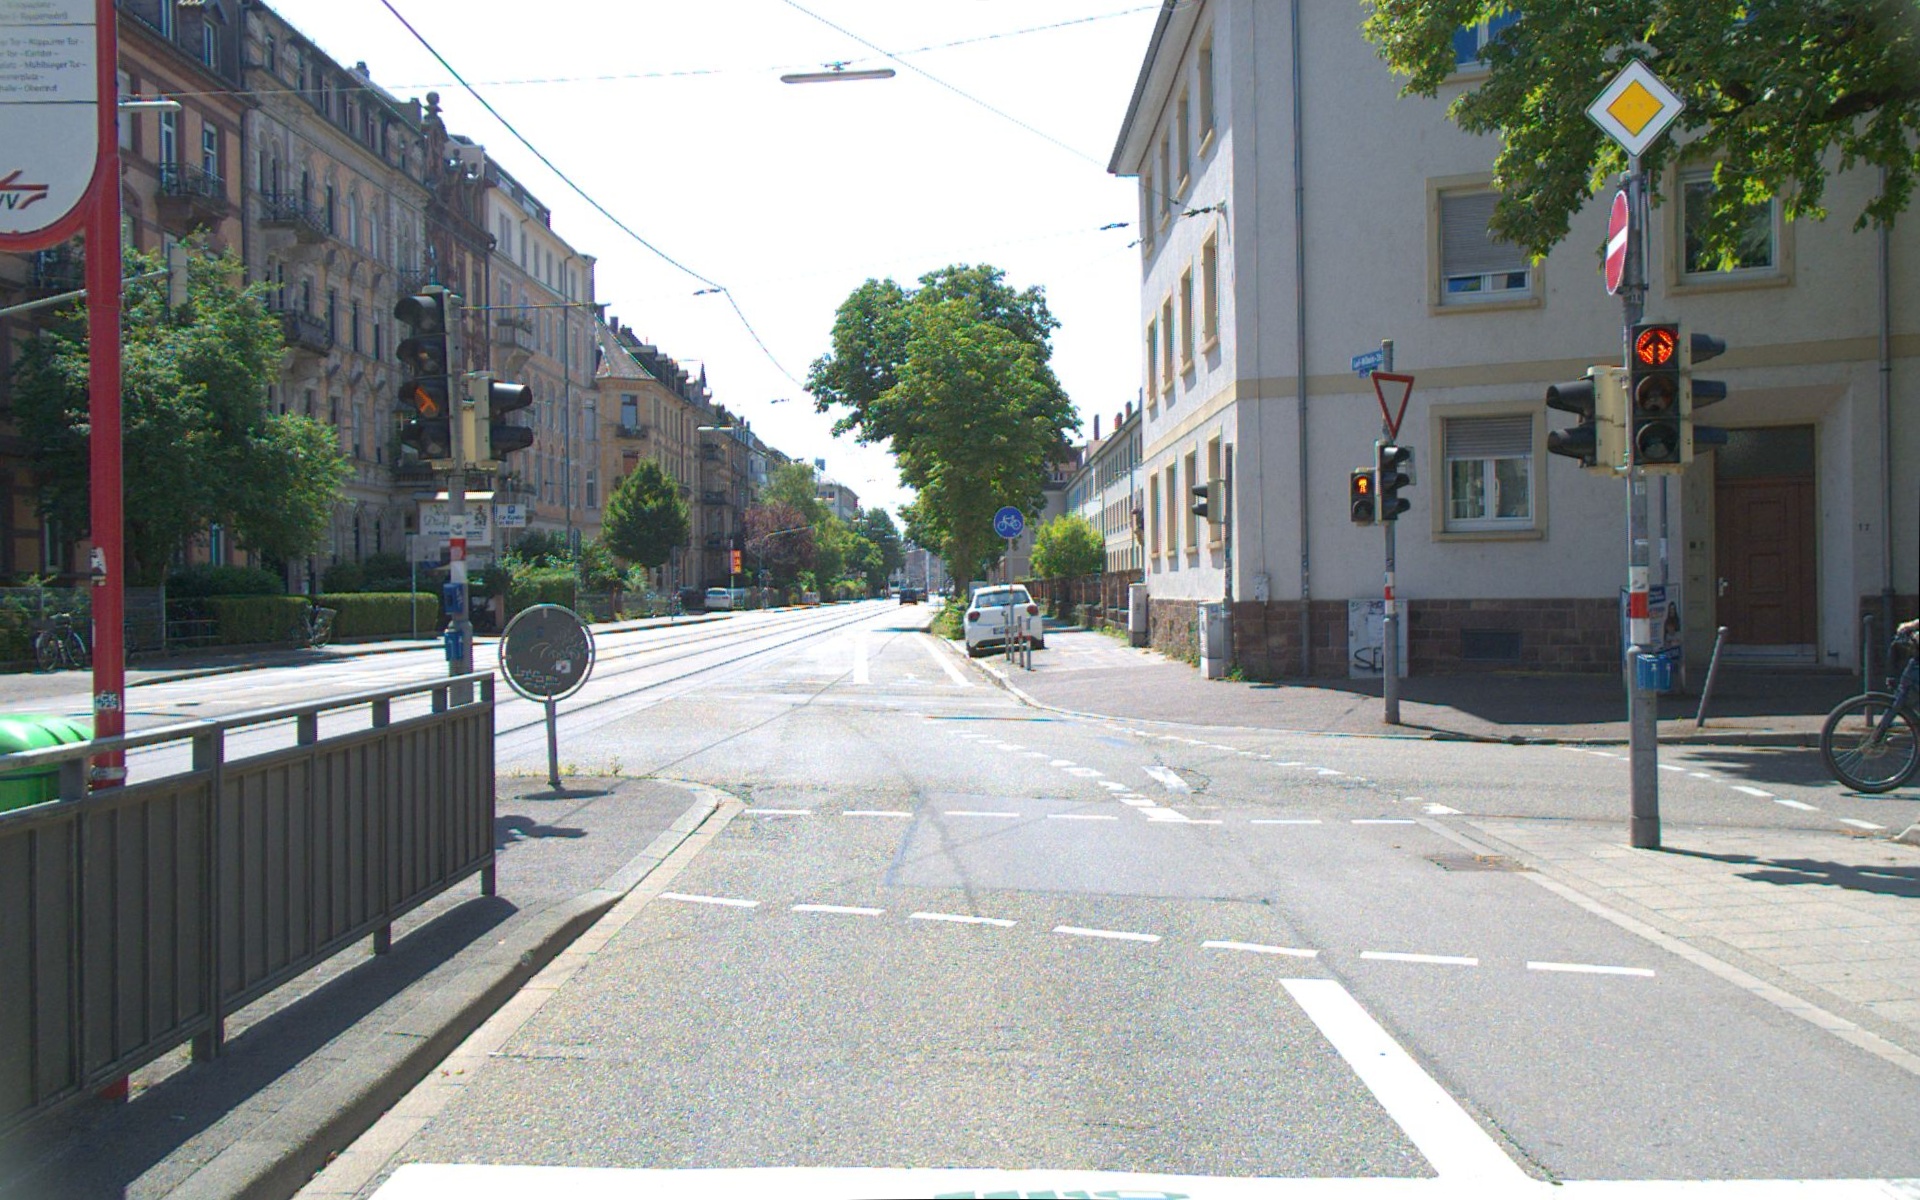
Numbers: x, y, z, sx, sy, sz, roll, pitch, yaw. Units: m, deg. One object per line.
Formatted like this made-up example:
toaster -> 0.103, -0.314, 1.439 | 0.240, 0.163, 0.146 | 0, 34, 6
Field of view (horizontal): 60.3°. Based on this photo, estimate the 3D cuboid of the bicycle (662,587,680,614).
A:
bicycle -> -15.336, 0.007, 87.755 | 0.565, 1.412, 2.500 | 0, 0, -1

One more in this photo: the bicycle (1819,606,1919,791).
bicycle -> 7.090, 0.668, 11.354 | 2.037, 1.258, 0.581 | 0, 0, 17

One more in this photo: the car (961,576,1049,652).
car -> 0.951, 0.304, 37.190 | 1.712, 1.498, 3.937 | -4, 0, -1

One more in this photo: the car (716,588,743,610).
car -> -17.208, -0.087, 123.646 | 1.596, 1.498, 3.562 | -4, 0, -3

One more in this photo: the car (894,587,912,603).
car -> -5.168, -0.451, 150.831 | 1.494, 1.469, 3.364 | -2, 0, 0

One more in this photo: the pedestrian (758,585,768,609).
pedestrian -> -14.593, -0.205, 122.530 | 0.664, 1.758, 0.677 | 0, 0, -1

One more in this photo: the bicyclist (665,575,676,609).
bicyclist -> -15.343, -0.403, 87.649 | 0.531, 1.794, 0.498 | 0, 0, -1

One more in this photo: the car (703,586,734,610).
car -> -16.840, -0.134, 115.451 | 1.651, 1.498, 3.936 | -4, 0, -3

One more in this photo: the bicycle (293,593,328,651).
bicycle -> -15.924, 0.518, 40.516 | 0.584, 1.380, 2.419 | 0, 0, -27

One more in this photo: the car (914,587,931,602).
car -> -4.068, -0.556, 179.867 | 1.712, 1.498, 3.937 | -4, 0, -1

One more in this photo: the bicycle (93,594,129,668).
bicycle -> -16.799, 0.590, 32.753 | 0.607, 1.420, 2.288 | 0, 0, -27
